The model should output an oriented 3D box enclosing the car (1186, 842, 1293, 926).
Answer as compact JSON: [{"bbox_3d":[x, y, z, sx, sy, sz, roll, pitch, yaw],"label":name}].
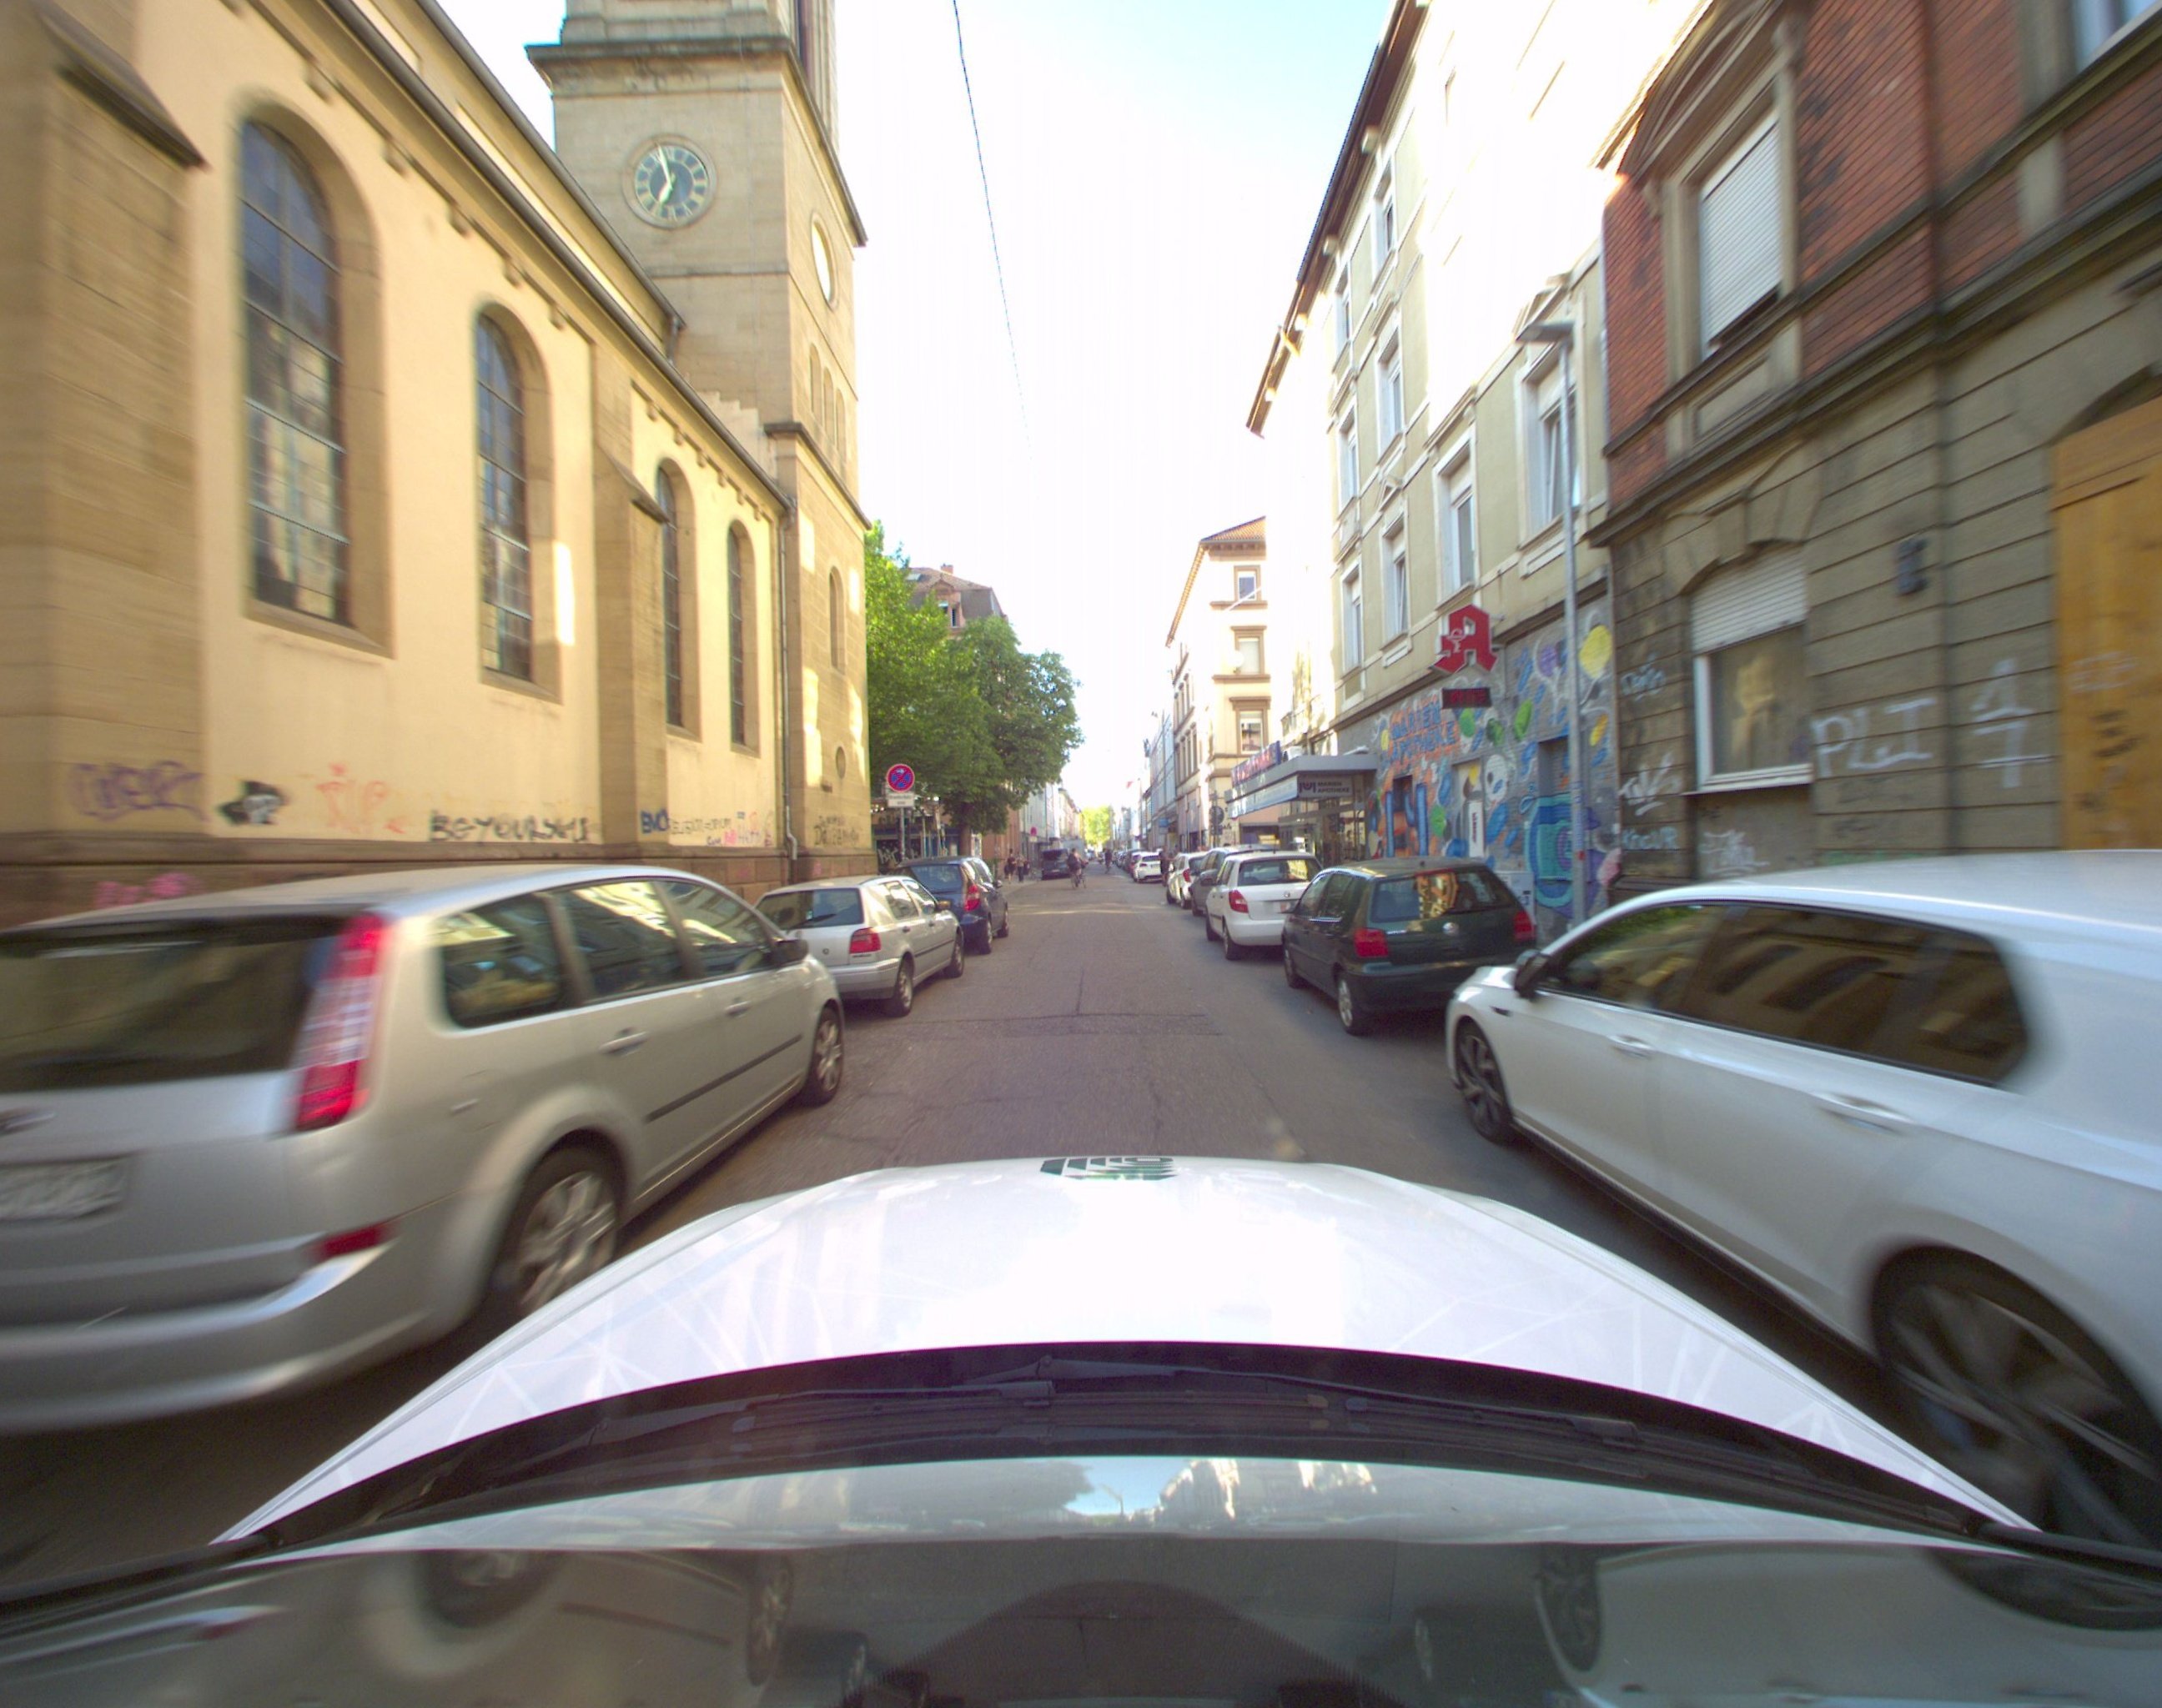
[{"bbox_3d":[3.420,0.598,18.238,1.710,1.645,4.002,-1,0,2],"label":"car"}]

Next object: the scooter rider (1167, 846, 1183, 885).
[{"bbox_3d":[4.076,0.485,35.354,0.646,1.642,0.684,-1,0,5],"label":"scooter rider"}]

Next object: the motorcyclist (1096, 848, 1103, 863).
[{"bbox_3d":[2.601,0.240,114.272,0.899,2.013,1.190,-1,0,-1],"label":"motorcyclist"}]

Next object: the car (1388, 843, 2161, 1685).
[{"bbox_3d":[2.850,0.728,3.188,1.773,1.486,4.361,0,0,2],"label":"car"}]

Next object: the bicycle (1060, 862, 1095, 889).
[{"bbox_3d":[-0.126,0.937,35.533,0.758,1.110,1.958,-1,0,23],"label":"bicycle"}]

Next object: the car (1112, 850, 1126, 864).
[{"bbox_3d":[5.512,0.443,117.796,1.986,2.013,4.002,-1,0,2],"label":"car"}]

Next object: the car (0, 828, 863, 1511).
[{"bbox_3d":[-2.468,0.752,3.901,1.667,1.558,4.000,-2,0,1],"label":"car"}]

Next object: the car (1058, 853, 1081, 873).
[{"bbox_3d":[-1.012,0.816,75.465,1.868,1.796,4.002,-1,0,2],"label":"car"}]

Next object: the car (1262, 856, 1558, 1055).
[{"bbox_3d":[2.889,0.768,7.983,1.563,1.495,3.655,0,0,2],"label":"car"}]

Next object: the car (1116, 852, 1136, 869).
[{"bbox_3d":[4.756,0.674,86.379,1.986,1.686,4.002,1,0,2],"label":"car"}]

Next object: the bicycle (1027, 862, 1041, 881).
[{"bbox_3d":[-2.916,1.065,50.553,0.644,1.108,1.599,-1,0,-9],"label":"bicycle"}]

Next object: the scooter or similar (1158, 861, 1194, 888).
[{"bbox_3d":[4.128,0.893,35.351,1.521,1.139,0.602,-1,0,6],"label":"scooter or similar"}]

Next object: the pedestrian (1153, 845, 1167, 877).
[{"bbox_3d":[4.627,0.420,47.747,0.778,1.843,1.014,-1,0,8],"label":"pedestrian"}]

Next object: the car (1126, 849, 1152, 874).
[{"bbox_3d":[4.382,0.551,62.134,1.762,1.741,4.002,-1,0,2],"label":"car"}]

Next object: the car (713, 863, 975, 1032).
[{"bbox_3d":[-2.437,0.884,9.392,1.563,1.398,3.812,-5,0,4],"label":"car"}]

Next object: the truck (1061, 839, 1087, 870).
[{"bbox_3d":[-0.724,0.029,91.879,2.522,3.282,6.997,-1,0,2],"label":"truck"}]

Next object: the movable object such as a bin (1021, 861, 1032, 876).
[{"bbox_3d":[-4.083,1.081,60.870,0.711,1.141,0.584,-1,0,5],"label":"movable object such as a bin"}]

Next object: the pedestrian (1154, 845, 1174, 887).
[{"bbox_3d":[3.703,0.529,36.401,0.681,1.843,0.692,-1,0,-10],"label":"pedestrian"}]

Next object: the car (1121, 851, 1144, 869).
[{"bbox_3d":[4.718,0.551,75.413,1.986,1.632,4.002,1,0,2],"label":"car"}]

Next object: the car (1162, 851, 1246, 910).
[{"bbox_3d":[3.381,0.682,23.078,1.712,1.488,3.867,-1,0,-1],"label":"car"}]

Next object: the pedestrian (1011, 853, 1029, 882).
[{"bbox_3d":[-3.480,0.766,46.711,0.925,1.637,0.807,-1,0,2],"label":"pedestrian"}]

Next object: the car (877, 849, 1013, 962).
[{"bbox_3d":[-2.224,0.787,14.286,1.594,1.614,3.809,-4,0,1],"label":"car"}]

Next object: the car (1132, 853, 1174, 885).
[{"bbox_3d":[3.613,0.719,41.309,1.890,1.488,3.871,-1,0,2],"label":"car"}]

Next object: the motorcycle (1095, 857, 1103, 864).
[{"bbox_3d":[2.570,0.894,114.334,1.039,0.980,2.824,-1,0,0],"label":"motorcycle"}]

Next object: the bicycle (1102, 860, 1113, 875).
[{"bbox_3d":[1.884,0.936,57.927,0.736,1.043,1.860,-1,0,2],"label":"bicycle"}]

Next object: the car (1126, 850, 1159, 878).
[{"bbox_3d":[3.883,0.625,51.677,1.890,1.651,4.002,-1,0,2],"label":"car"}]

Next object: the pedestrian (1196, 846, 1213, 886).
[{"bbox_3d":[5.098,0.507,33.663,0.460,1.642,0.496,-1,0,-39],"label":"pedestrian"}]

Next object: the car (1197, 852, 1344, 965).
[{"bbox_3d":[2.821,0.732,12.912,1.597,1.505,4.003,0,0,3],"label":"car"}]

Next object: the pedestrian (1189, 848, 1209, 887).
[{"bbox_3d":[5.019,0.579,34.573,0.546,1.642,0.600,-1,0,-39],"label":"pedestrian"}]

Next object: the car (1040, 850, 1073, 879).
[{"bbox_3d":[-1.559,0.648,53.566,1.868,1.796,4.002,-1,0,2],"label":"car"}]

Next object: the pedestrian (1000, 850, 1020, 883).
[{"bbox_3d":[-3.831,0.673,43.938,0.925,1.786,0.807,-1,0,2],"label":"pedestrian"}]

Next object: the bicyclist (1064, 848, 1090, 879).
[{"bbox_3d":[-0.167,0.414,35.455,0.748,1.306,1.068,-1,0,23],"label":"bicyclist"}]

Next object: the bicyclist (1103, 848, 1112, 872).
[{"bbox_3d":[1.871,0.448,57.894,0.603,1.688,0.885,-1,0,1],"label":"bicyclist"}]
